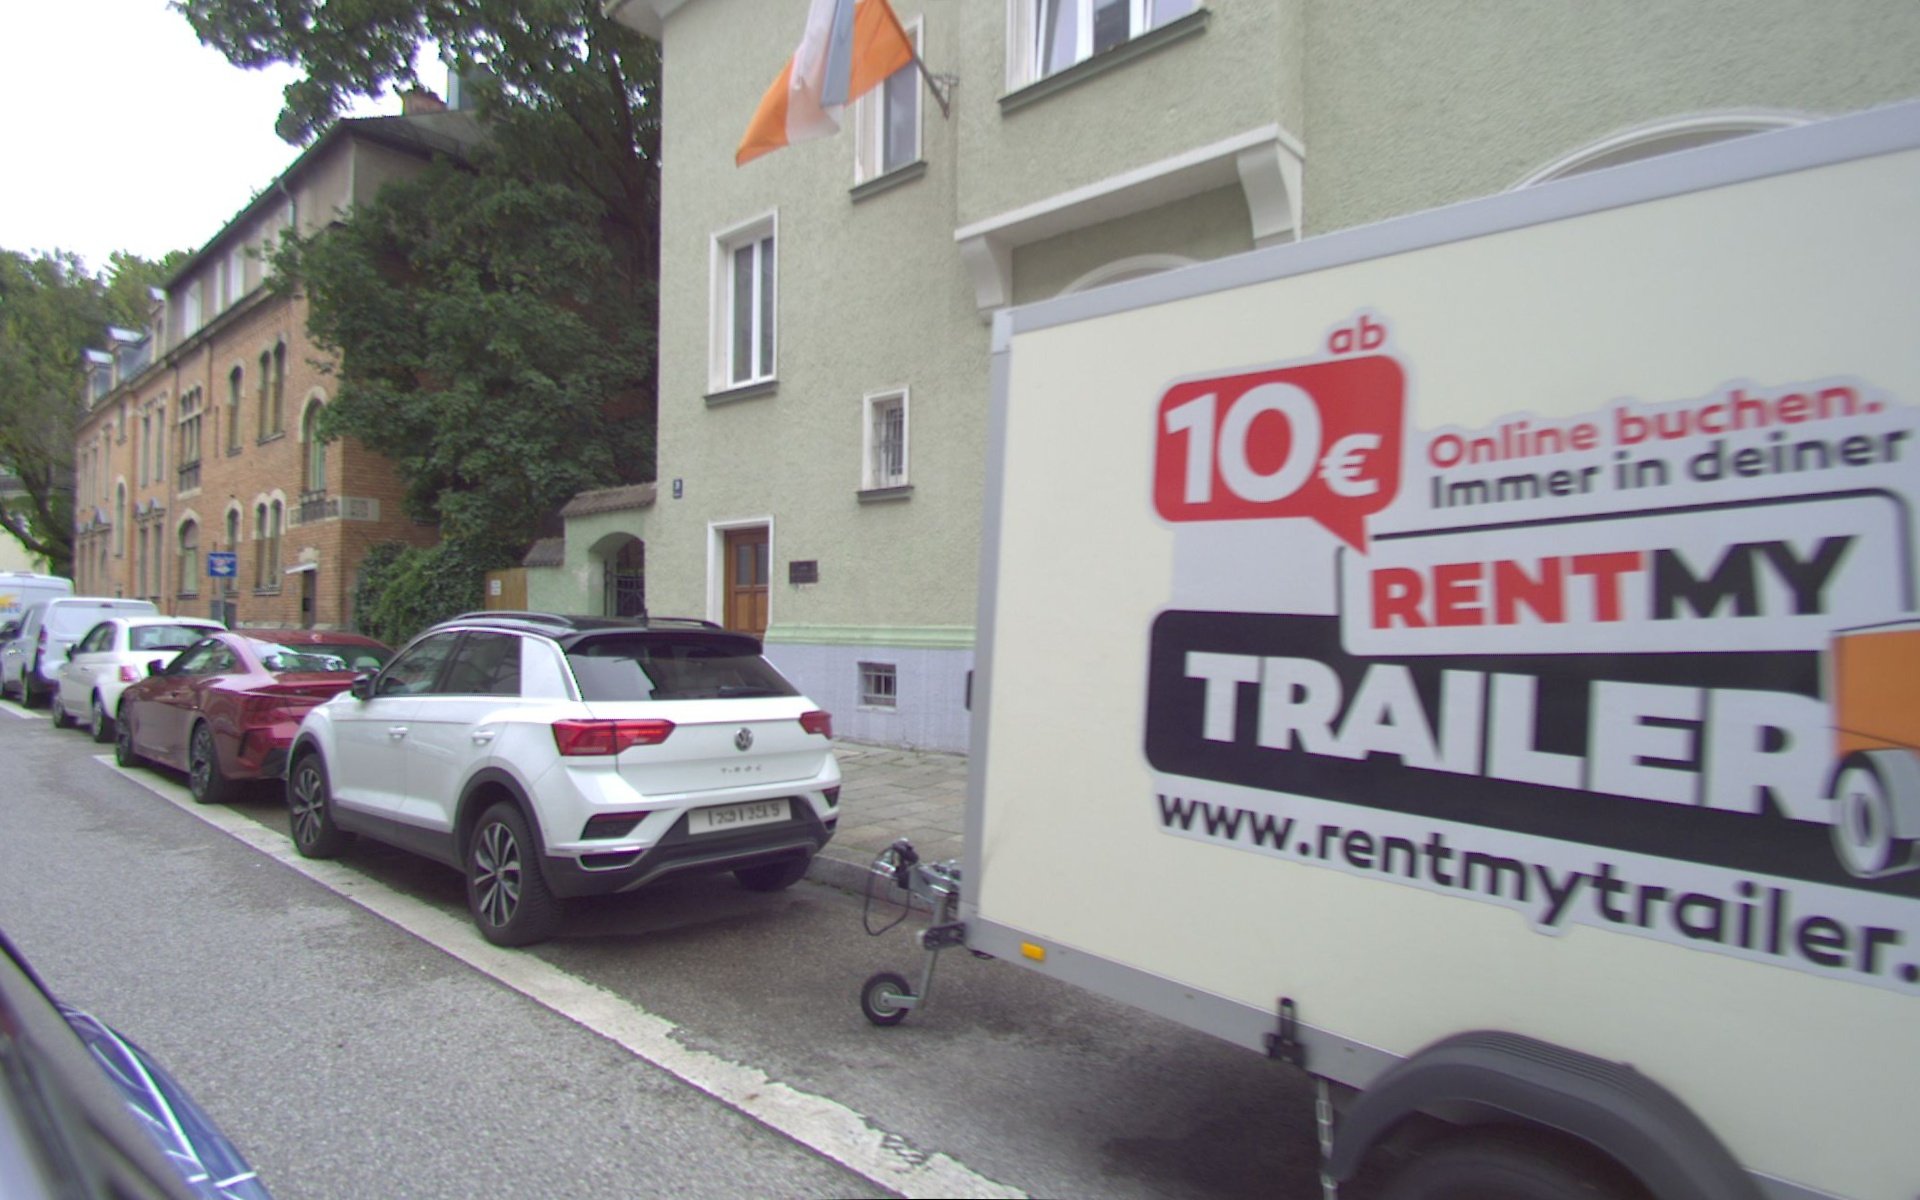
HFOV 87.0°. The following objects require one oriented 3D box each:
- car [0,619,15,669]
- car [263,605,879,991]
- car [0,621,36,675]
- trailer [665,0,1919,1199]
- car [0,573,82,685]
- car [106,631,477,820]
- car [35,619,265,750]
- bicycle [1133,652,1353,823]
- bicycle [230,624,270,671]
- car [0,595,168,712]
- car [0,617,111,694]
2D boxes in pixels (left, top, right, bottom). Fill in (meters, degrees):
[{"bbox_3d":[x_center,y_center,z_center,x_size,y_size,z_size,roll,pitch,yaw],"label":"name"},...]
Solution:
[{"bbox_3d":[-30.796,1.342,31.334,4.077,1.512,1.746,-2,-3,40],"label":"car"},{"bbox_3d":[-2.525,0.864,6.045,4.104,1.542,1.662,-2,-3,40],"label":"car"},{"bbox_3d":[-27.028,1.298,27.950,3.790,1.426,1.746,-2,-3,40],"label":"car"},{"bbox_3d":[1.274,0.348,2.860,4.578,2.490,1.954,-1,-5,44],"label":"trailer"},{"bbox_3d":[-23.064,0.706,24.354,5.227,2.495,2.090,-2,-3,40],"label":"car"},{"bbox_3d":[-6.410,0.993,9.495,4.399,1.378,1.728,-2,-3,40],"label":"car"},{"bbox_3d":[-10.609,1.010,13.186,3.517,1.479,1.610,-1,-3,39],"label":"car"},{"bbox_3d":[2.067,0.962,7.519,1.522,1.093,0.455,0,0,40],"label":"bicycle"},{"bbox_3d":[-17.379,1.144,24.758,1.470,1.093,0.430,0,0,40],"label":"bicycle"},{"bbox_3d":[-15.245,0.893,17.403,4.247,1.769,1.697,-2,-3,40],"label":"car"},{"bbox_3d":[-18.940,1.095,20.716,4.163,1.431,1.697,-2,-3,40],"label":"car"}]
